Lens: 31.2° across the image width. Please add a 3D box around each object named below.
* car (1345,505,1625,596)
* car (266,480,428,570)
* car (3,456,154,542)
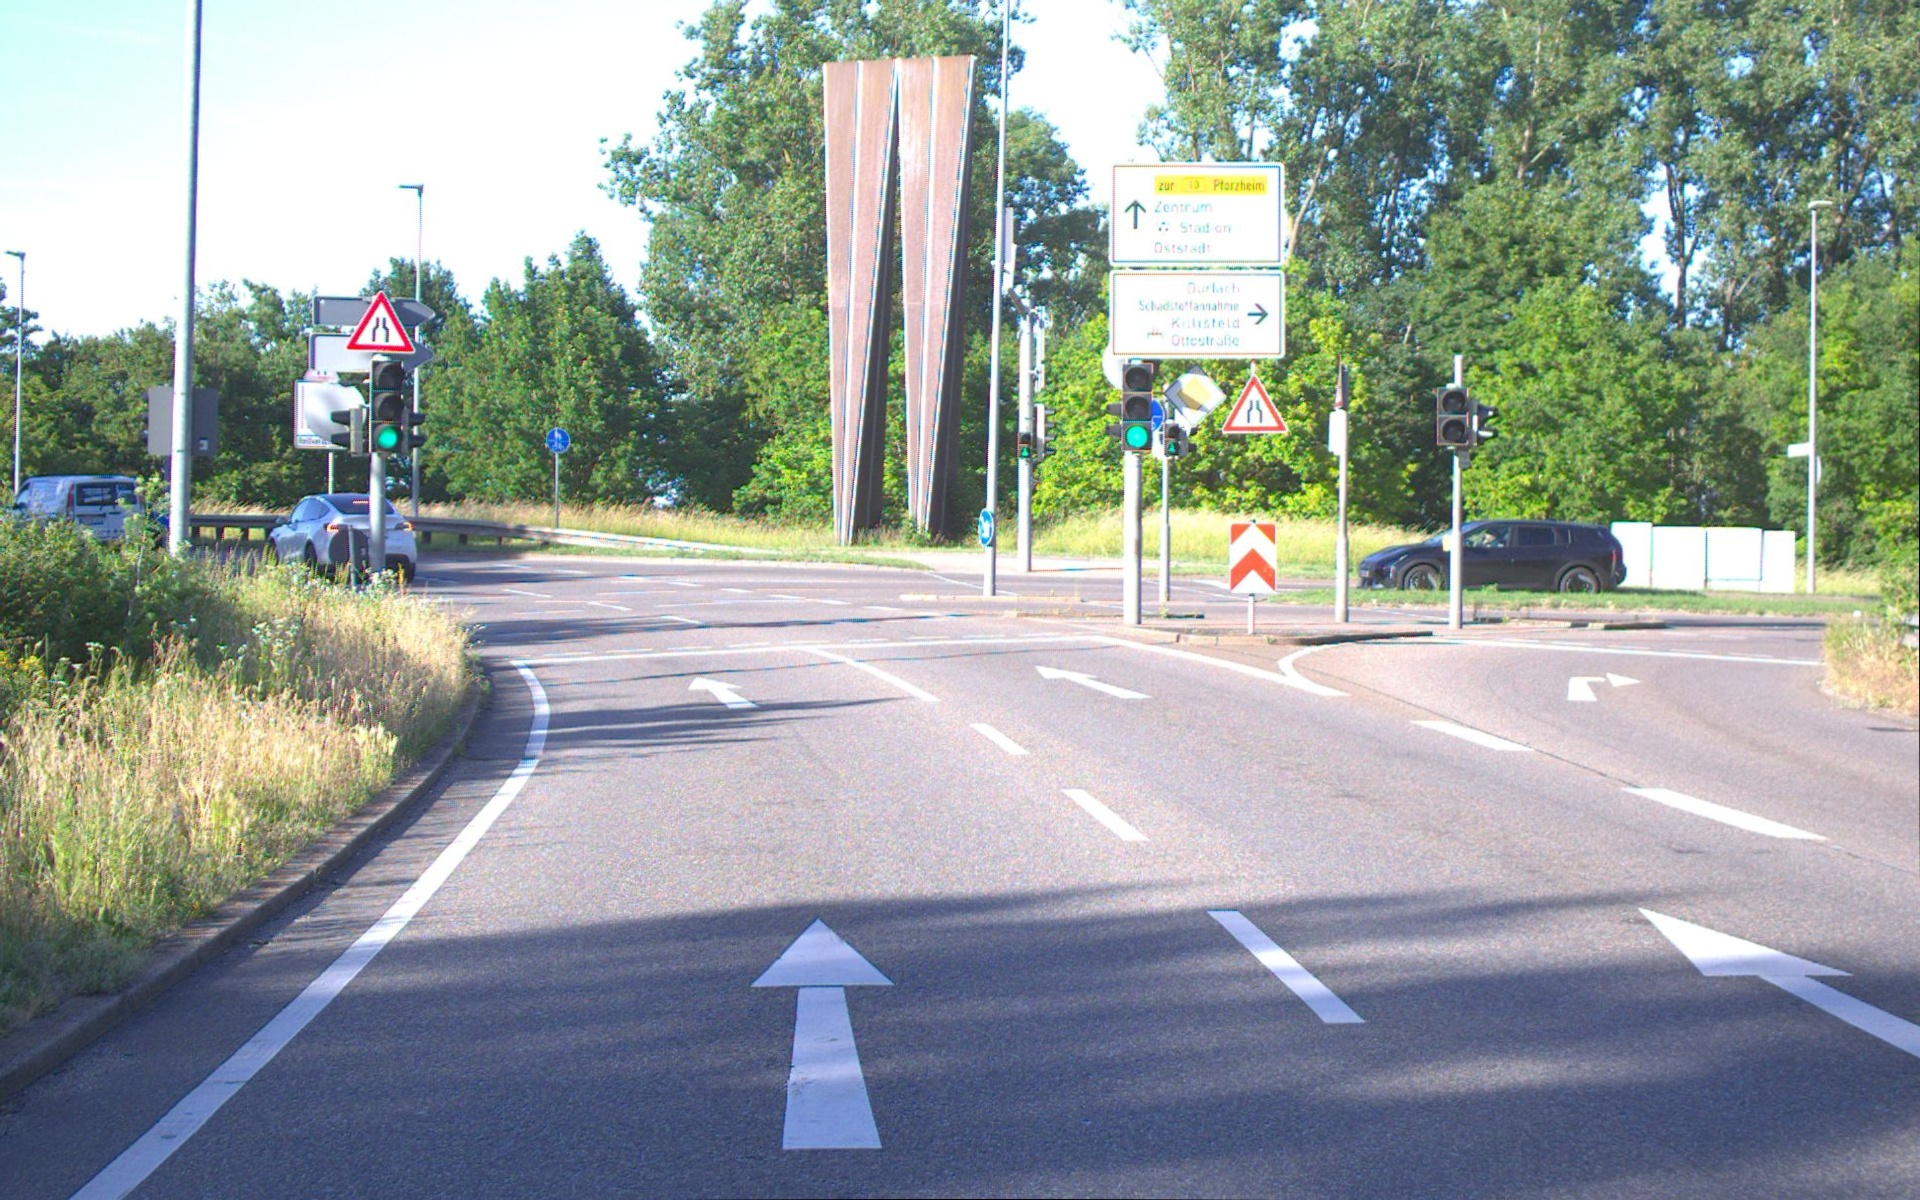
[{"bbox_3d":[9.215,-0.880,60.534,4.457,1.459,2.001,1,2,-8],"label":"car"},{"bbox_3d":[-11.517,-1.426,64.375,1.993,1.634,4.129,0,2,-25],"label":"car"},{"bbox_3d":[-19.796,-2.267,77.075,1.994,1.873,4.249,-1,2,-34],"label":"car"}]
